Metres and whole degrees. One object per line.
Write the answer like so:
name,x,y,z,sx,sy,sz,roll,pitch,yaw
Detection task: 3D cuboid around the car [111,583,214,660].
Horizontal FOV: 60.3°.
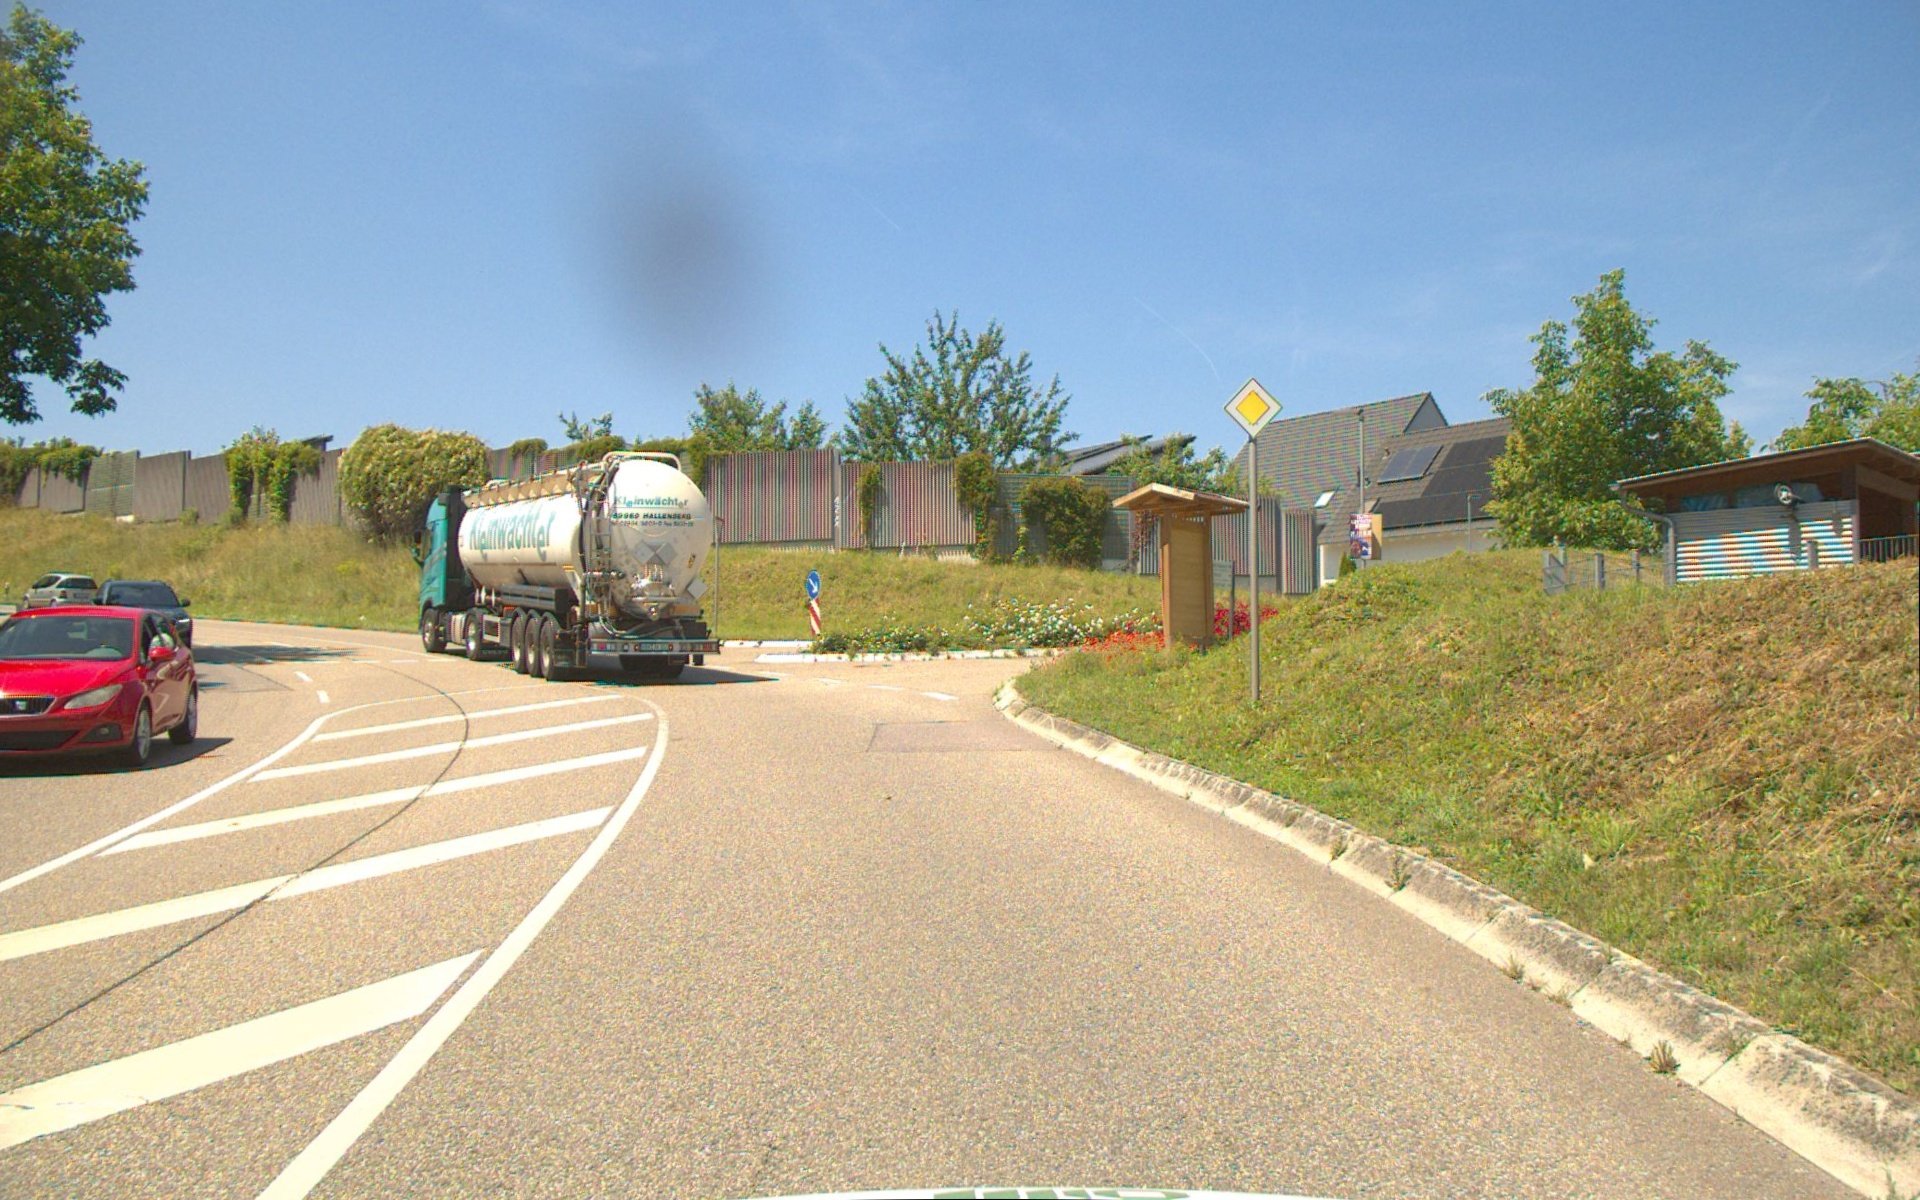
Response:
car,-18.301,0.450,37.862,1.773,1.633,4.136,0,1,-31

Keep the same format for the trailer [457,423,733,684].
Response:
trailer,-7.638,-0.817,32.840,2.629,4.262,11.803,-1,1,-26

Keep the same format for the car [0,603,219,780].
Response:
car,-8.473,0.788,16.027,1.721,1.473,3.984,-1,0,-15

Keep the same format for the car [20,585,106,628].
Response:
car,-35.343,0.252,65.132,3.569,1.536,1.645,2,-3,38

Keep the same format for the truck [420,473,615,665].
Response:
truck,-10.349,-0.658,38.165,2.698,3.998,7.192,0,0,-29
